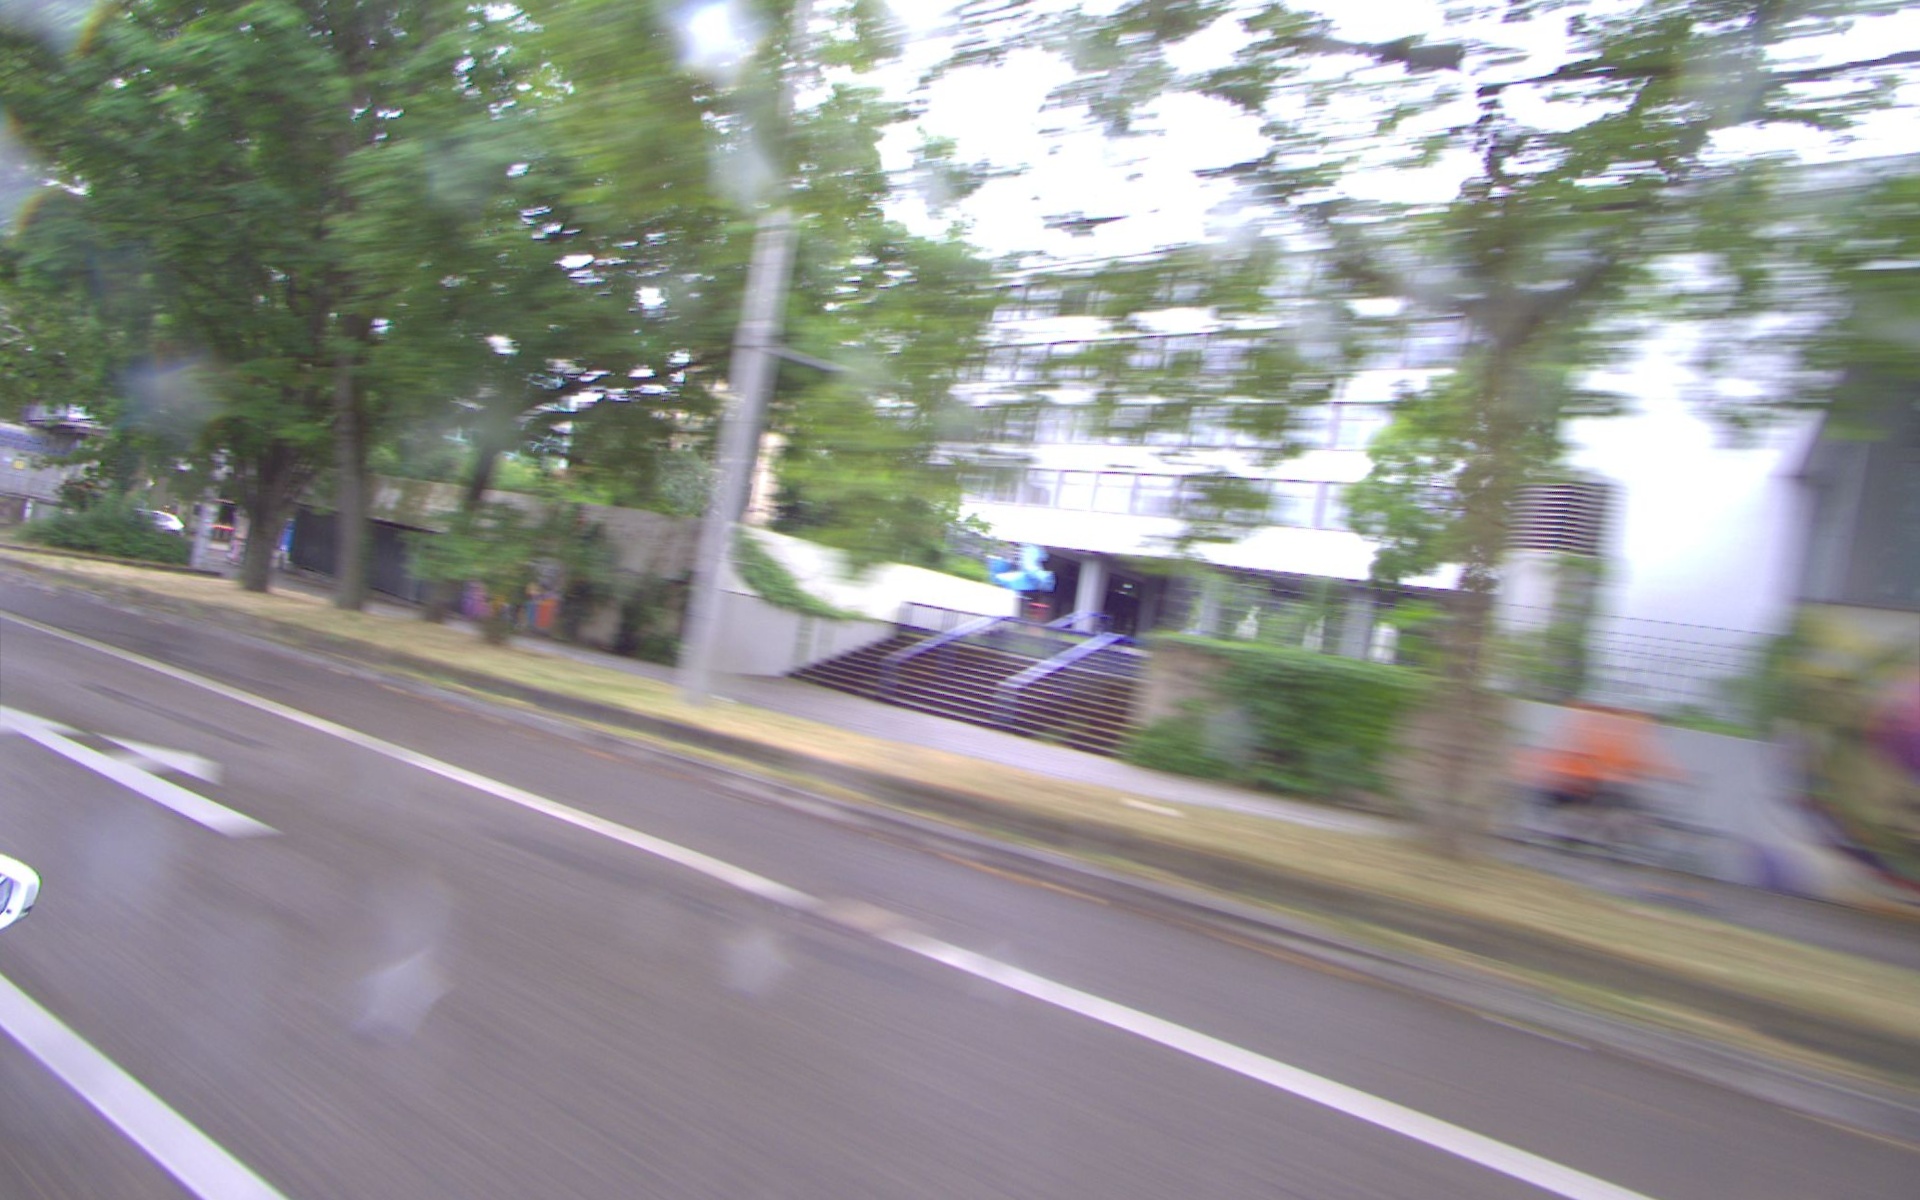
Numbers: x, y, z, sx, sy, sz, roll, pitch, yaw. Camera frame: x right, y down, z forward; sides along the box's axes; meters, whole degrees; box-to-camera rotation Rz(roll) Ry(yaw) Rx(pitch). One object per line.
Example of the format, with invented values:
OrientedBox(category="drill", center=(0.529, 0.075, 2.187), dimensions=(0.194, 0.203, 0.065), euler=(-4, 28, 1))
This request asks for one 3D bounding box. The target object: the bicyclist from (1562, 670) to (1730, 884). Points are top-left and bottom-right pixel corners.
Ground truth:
OrientedBox(category="bicyclist", center=(6.124, 1.544, 8.986), dimensions=(1.031, 1.646, 0.807), euler=(7, -2, 38))

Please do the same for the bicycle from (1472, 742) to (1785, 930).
OrientedBox(category="bicycle", center=(5.942, 2.039, 9.062), dimensions=(2.165, 1.124, 0.807), euler=(7, -2, 38))

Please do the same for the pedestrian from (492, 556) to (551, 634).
OrientedBox(category="pedestrian", center=(-11.450, -0.128, 26.272), dimensions=(1.041, 1.886, 0.806), euler=(7, -1, 40))
